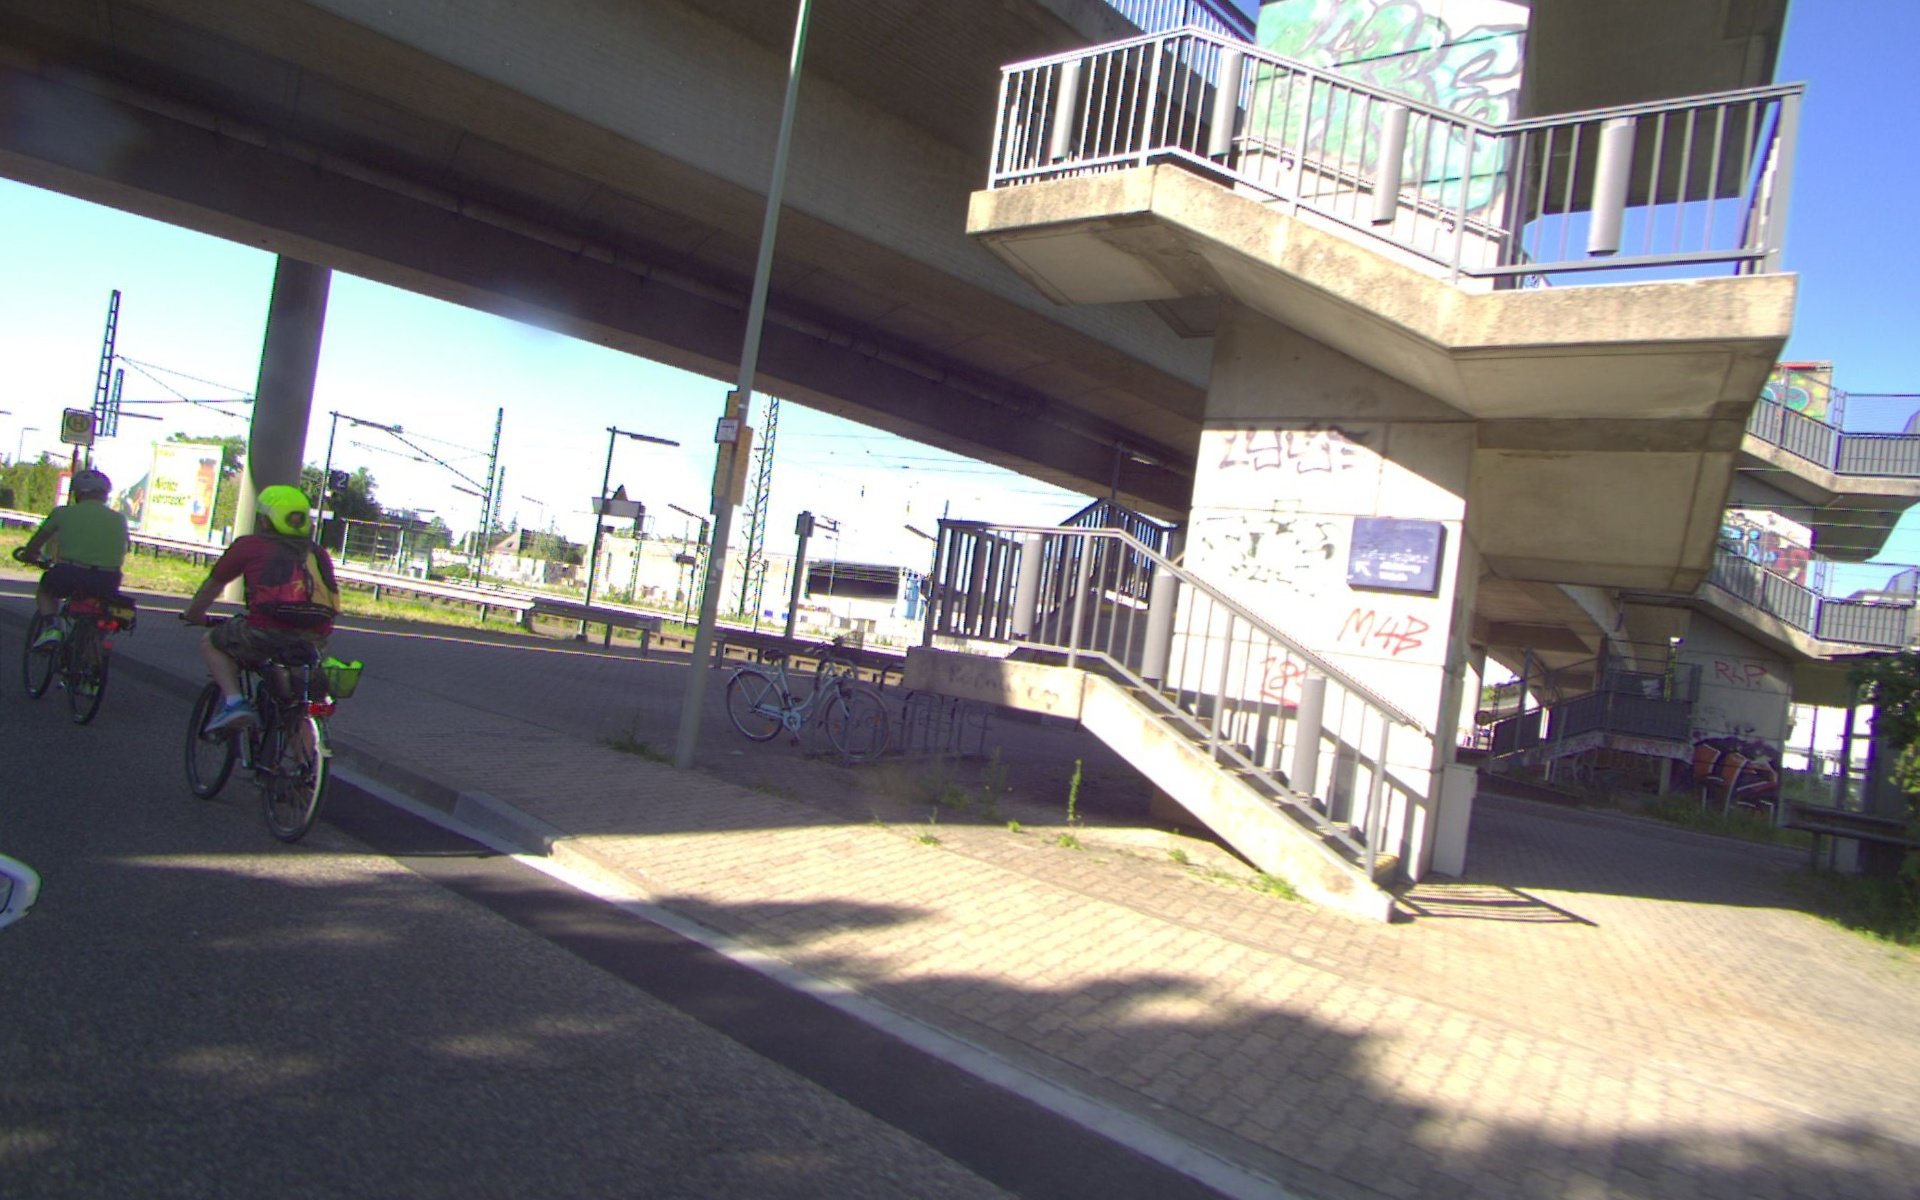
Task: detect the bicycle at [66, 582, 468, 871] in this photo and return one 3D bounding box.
[{"bbox_3d":[-3.711,0.588,5.330,2.153,1.064,0.842,7,-2,31],"label":"bicycle"}]

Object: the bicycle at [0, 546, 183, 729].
[{"bbox_3d":[-6.633,0.220,7.264,2.154,1.064,0.842,7,-2,33],"label":"bicycle"}]

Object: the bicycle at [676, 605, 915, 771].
[{"bbox_3d":[-1.562,0.783,9.366,2.143,1.196,0.598,7,-1,28],"label":"bicycle"}]

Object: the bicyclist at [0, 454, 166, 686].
[{"bbox_3d":[-6.503,-0.211,7.221,0.908,1.505,0.842,7,-1,31],"label":"bicyclist"}]

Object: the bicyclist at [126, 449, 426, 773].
[{"bbox_3d":[-3.584,0.060,5.303,0.908,1.505,0.842,7,-1,31],"label":"bicyclist"}]

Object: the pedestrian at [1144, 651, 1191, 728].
[{"bbox_3d":[5.922,2.548,28.628,0.822,2.037,0.895,7,-1,30],"label":"pedestrian"}]
